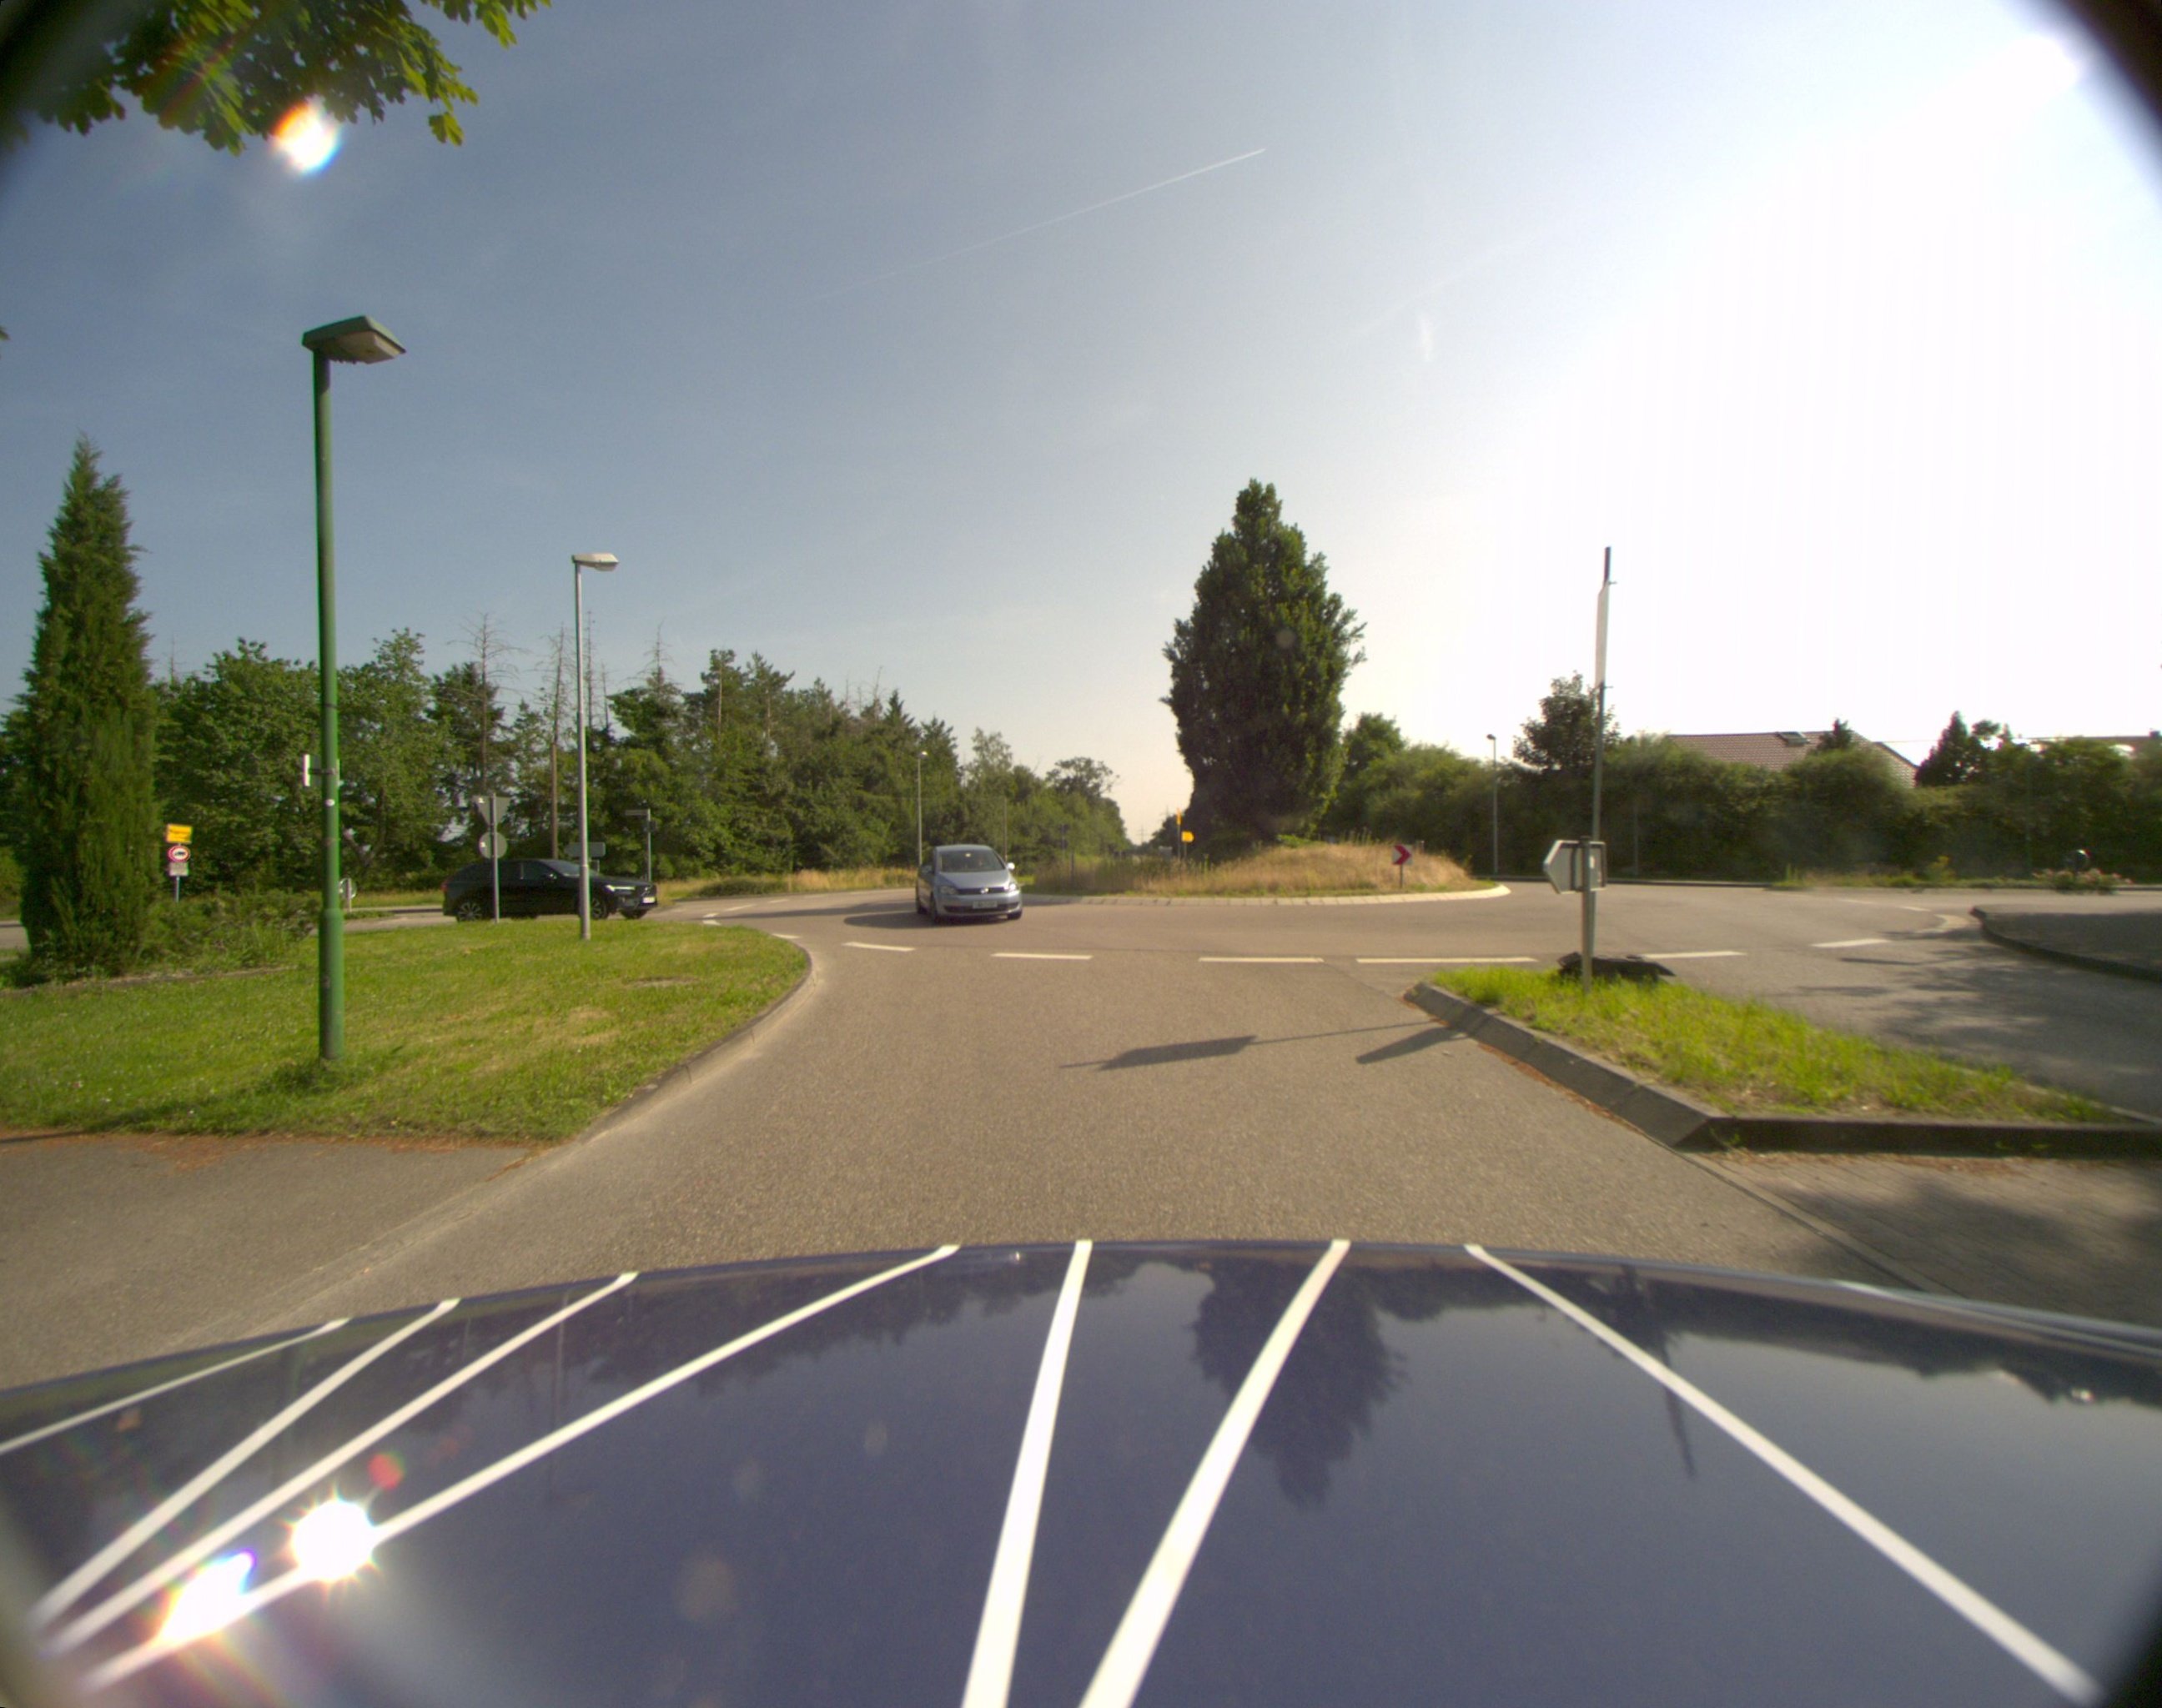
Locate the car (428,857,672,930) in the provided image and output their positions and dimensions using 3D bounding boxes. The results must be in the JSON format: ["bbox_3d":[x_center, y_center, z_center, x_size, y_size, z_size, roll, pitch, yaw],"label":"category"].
[{"bbox_3d":[-13.038,0.929,18.899,4.618,1.592,1.953,-1,1,-1],"label":"car"}]

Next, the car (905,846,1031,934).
[{"bbox_3d":[-2.580,0.662,16.402,1.811,1.592,4.262,-1,1,-20],"label":"car"}]
